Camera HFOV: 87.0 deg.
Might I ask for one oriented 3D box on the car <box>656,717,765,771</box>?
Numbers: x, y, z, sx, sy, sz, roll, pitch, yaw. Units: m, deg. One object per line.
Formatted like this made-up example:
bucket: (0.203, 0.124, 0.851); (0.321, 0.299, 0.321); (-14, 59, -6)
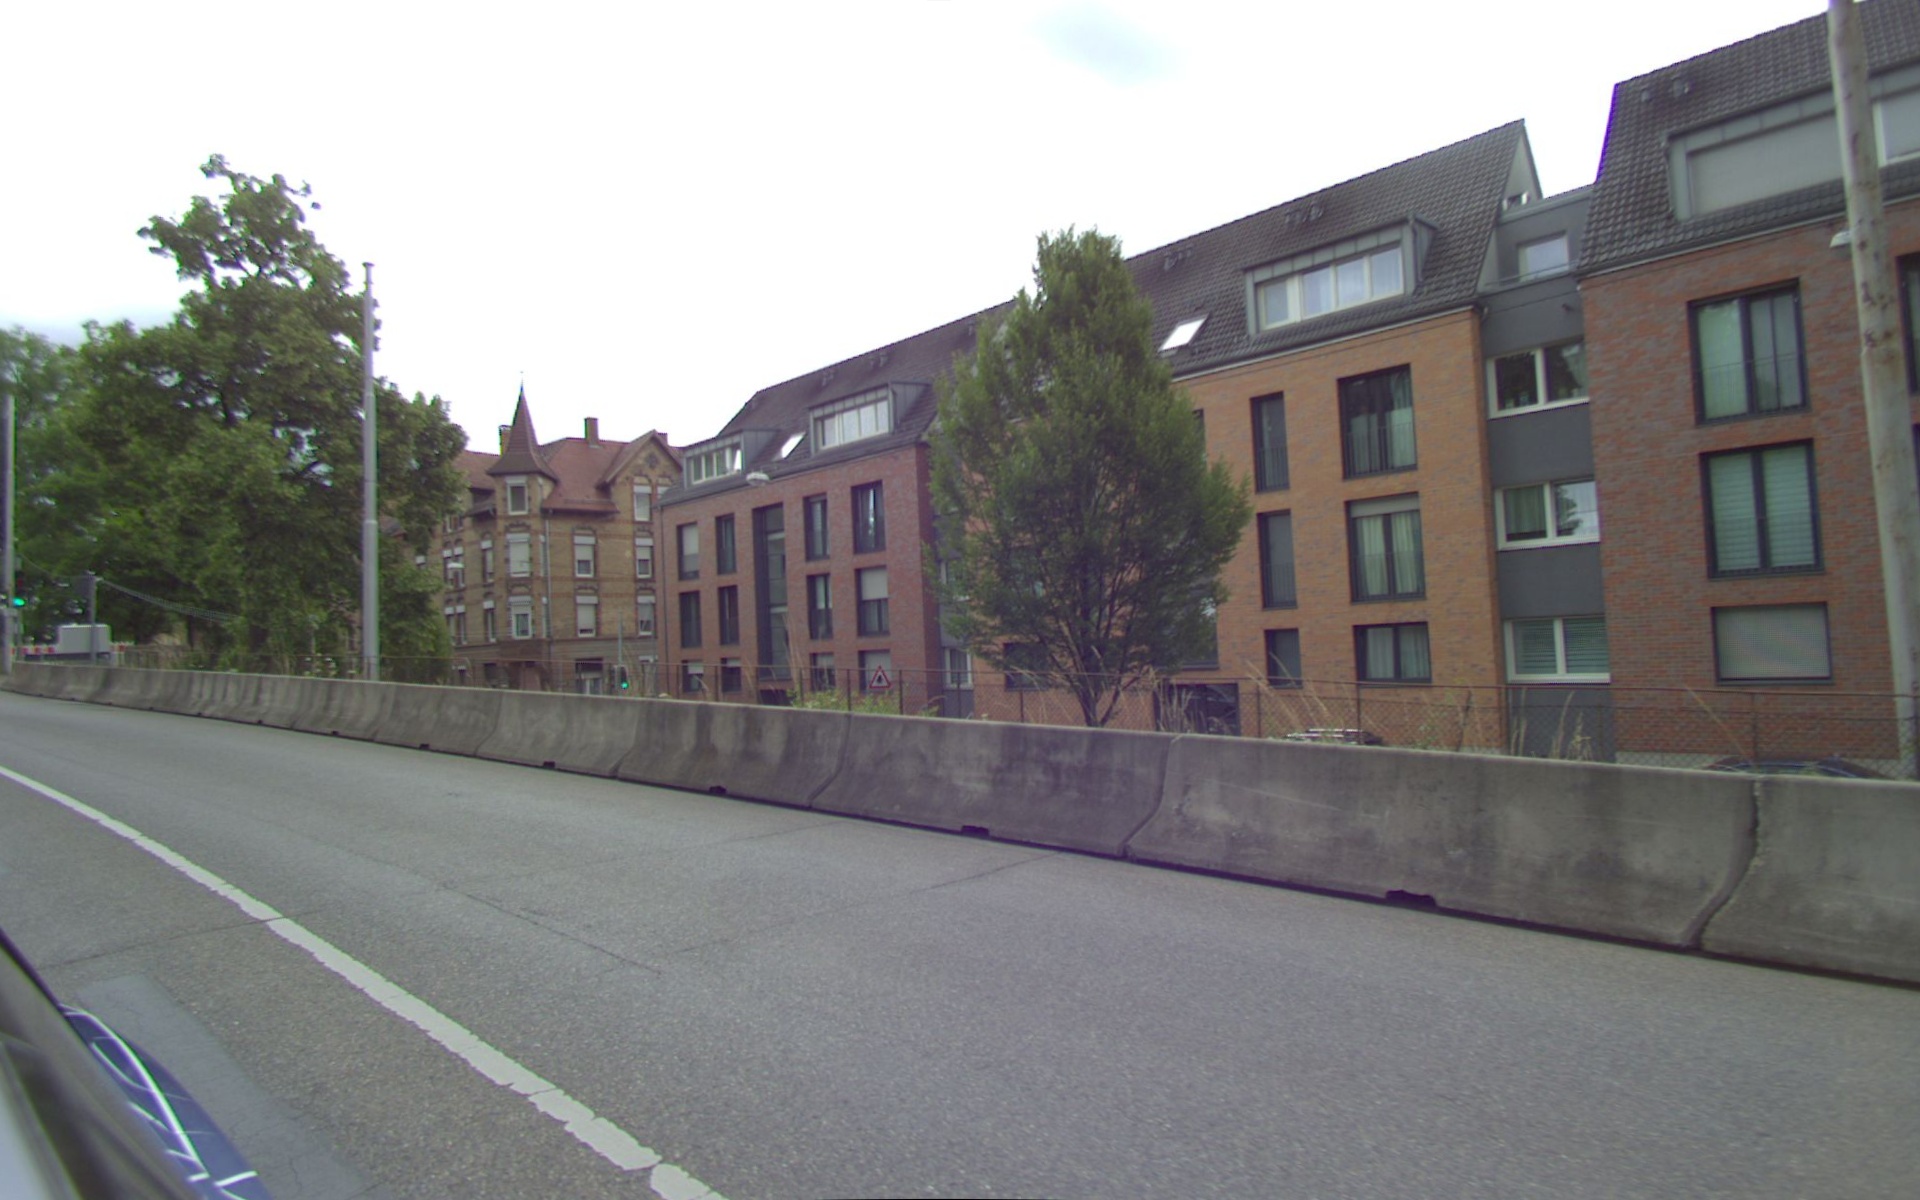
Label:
car: (-8.687, 4.938, 35.093); (4.000, 1.522, 1.774); (-3, -4, 43)

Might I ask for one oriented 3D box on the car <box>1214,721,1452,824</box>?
car: (7.197, 3.265, 19.782); (4.001, 1.522, 1.774); (-3, -5, 44)

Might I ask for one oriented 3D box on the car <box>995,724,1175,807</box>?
car: (2.915, 3.860, 24.122); (4.001, 1.522, 1.774); (-3, -5, 44)

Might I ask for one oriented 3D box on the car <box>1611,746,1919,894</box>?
car: (12.274, 3.176, 15.119); (4.001, 1.620, 1.774); (-3, -5, 44)
